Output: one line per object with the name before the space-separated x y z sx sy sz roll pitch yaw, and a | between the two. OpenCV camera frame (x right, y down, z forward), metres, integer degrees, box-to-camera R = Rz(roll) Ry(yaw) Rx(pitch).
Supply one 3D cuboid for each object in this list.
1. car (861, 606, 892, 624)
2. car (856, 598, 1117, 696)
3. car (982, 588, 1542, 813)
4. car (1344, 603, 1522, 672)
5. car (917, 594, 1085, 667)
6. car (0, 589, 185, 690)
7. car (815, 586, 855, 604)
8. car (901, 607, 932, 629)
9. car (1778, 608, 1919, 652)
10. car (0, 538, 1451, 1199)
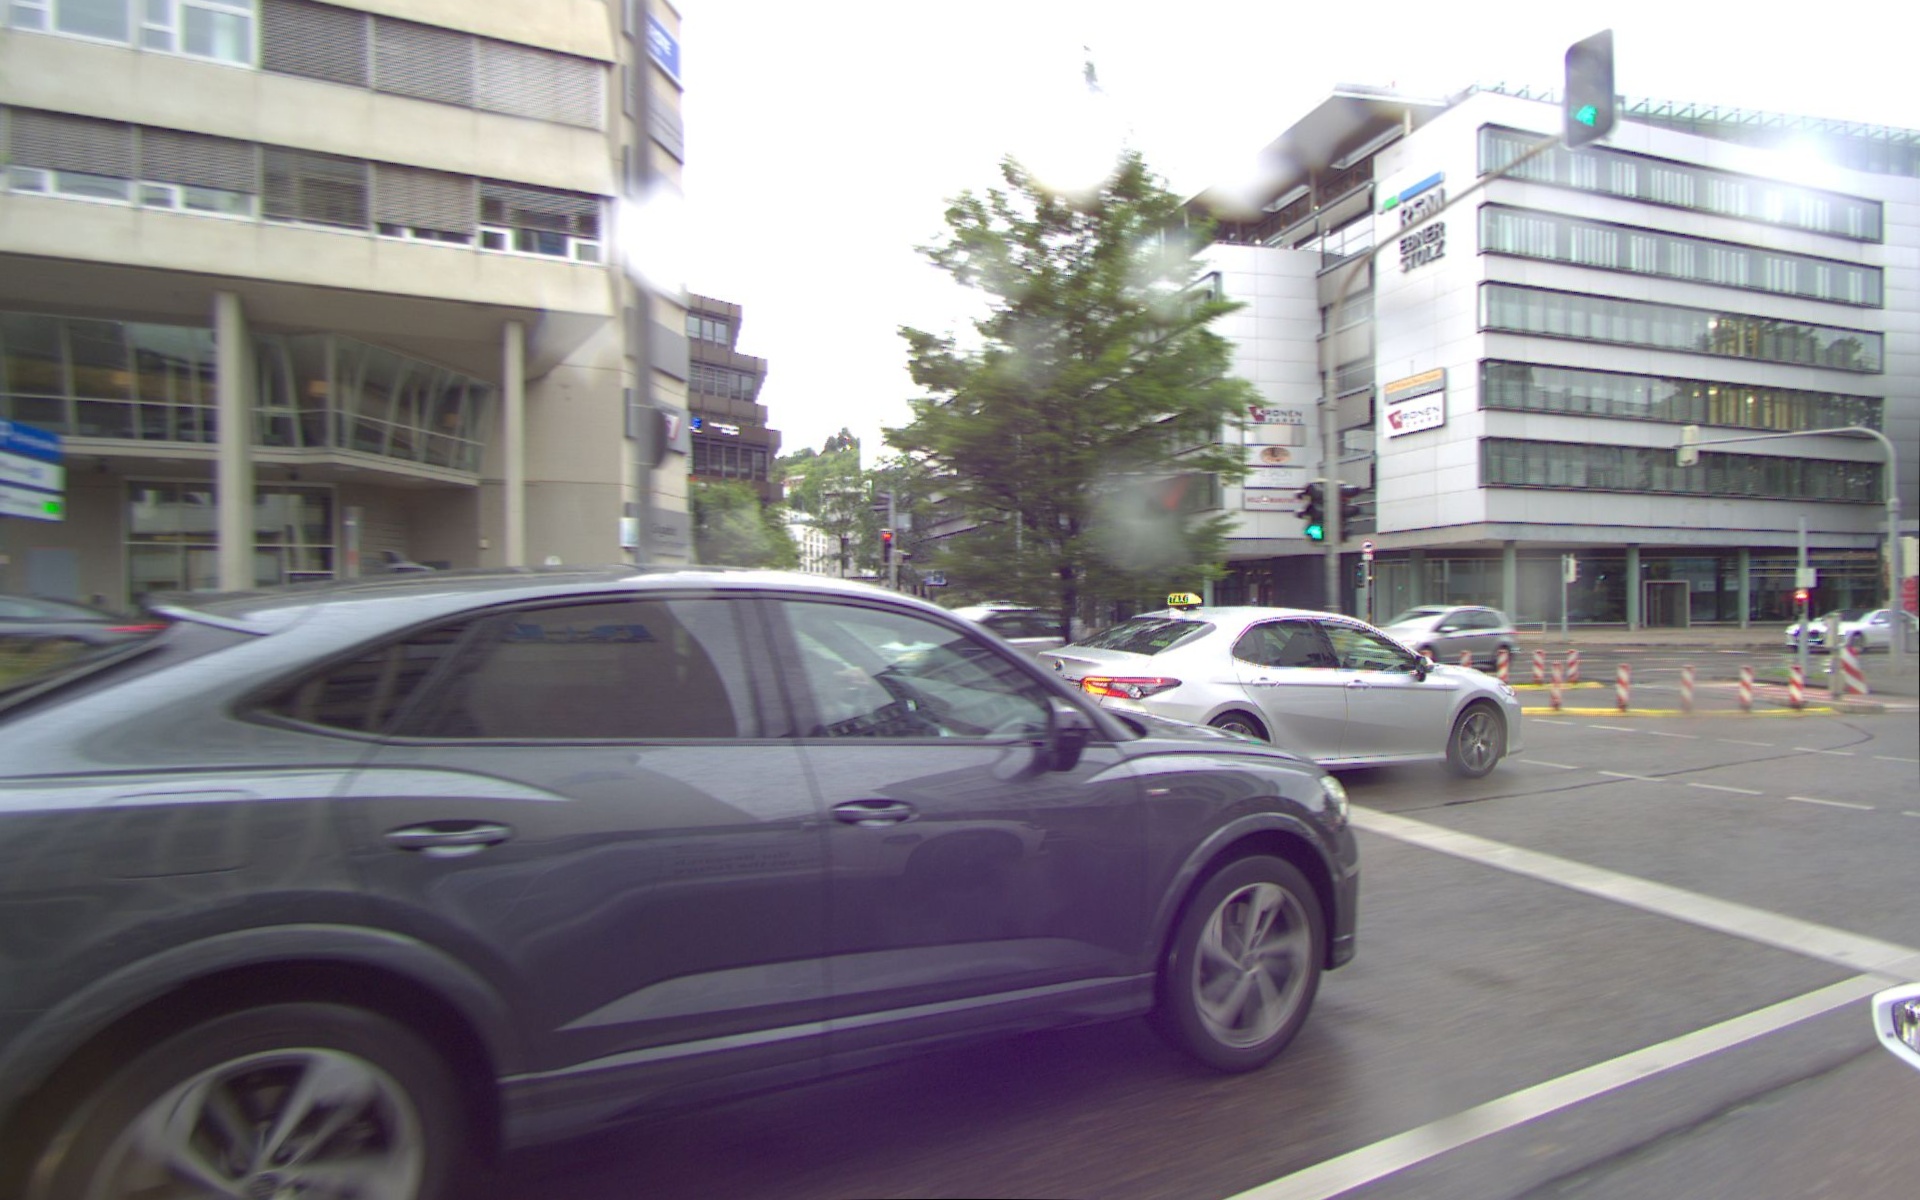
car | -7.885 1.425 94.794 1.764 1.617 3.868 1 0 -22
car | 0.429 0.741 16.079 3.817 1.404 1.685 2 0 -26
car | 2.716 0.734 8.840 4.714 1.554 1.859 1 0 -26
car | 11.738 0.914 24.933 4.023 1.602 1.641 1 0 -20
car | 0.983 0.730 24.069 3.665 1.592 1.634 2 0 -23
car | -14.266 0.548 14.739 4.363 1.397 1.852 2 0 -32
car | -13.688 -0.590 109.716 3.941 1.808 1.899 2 0 -22
car | -3.689 1.487 84.394 1.676 1.672 3.894 2 0 -17
car | 32.184 1.051 36.097 5.112 1.530 1.813 0 0 -17
car | -0.497 0.691 3.223 4.221 1.542 1.640 1 0 -30
